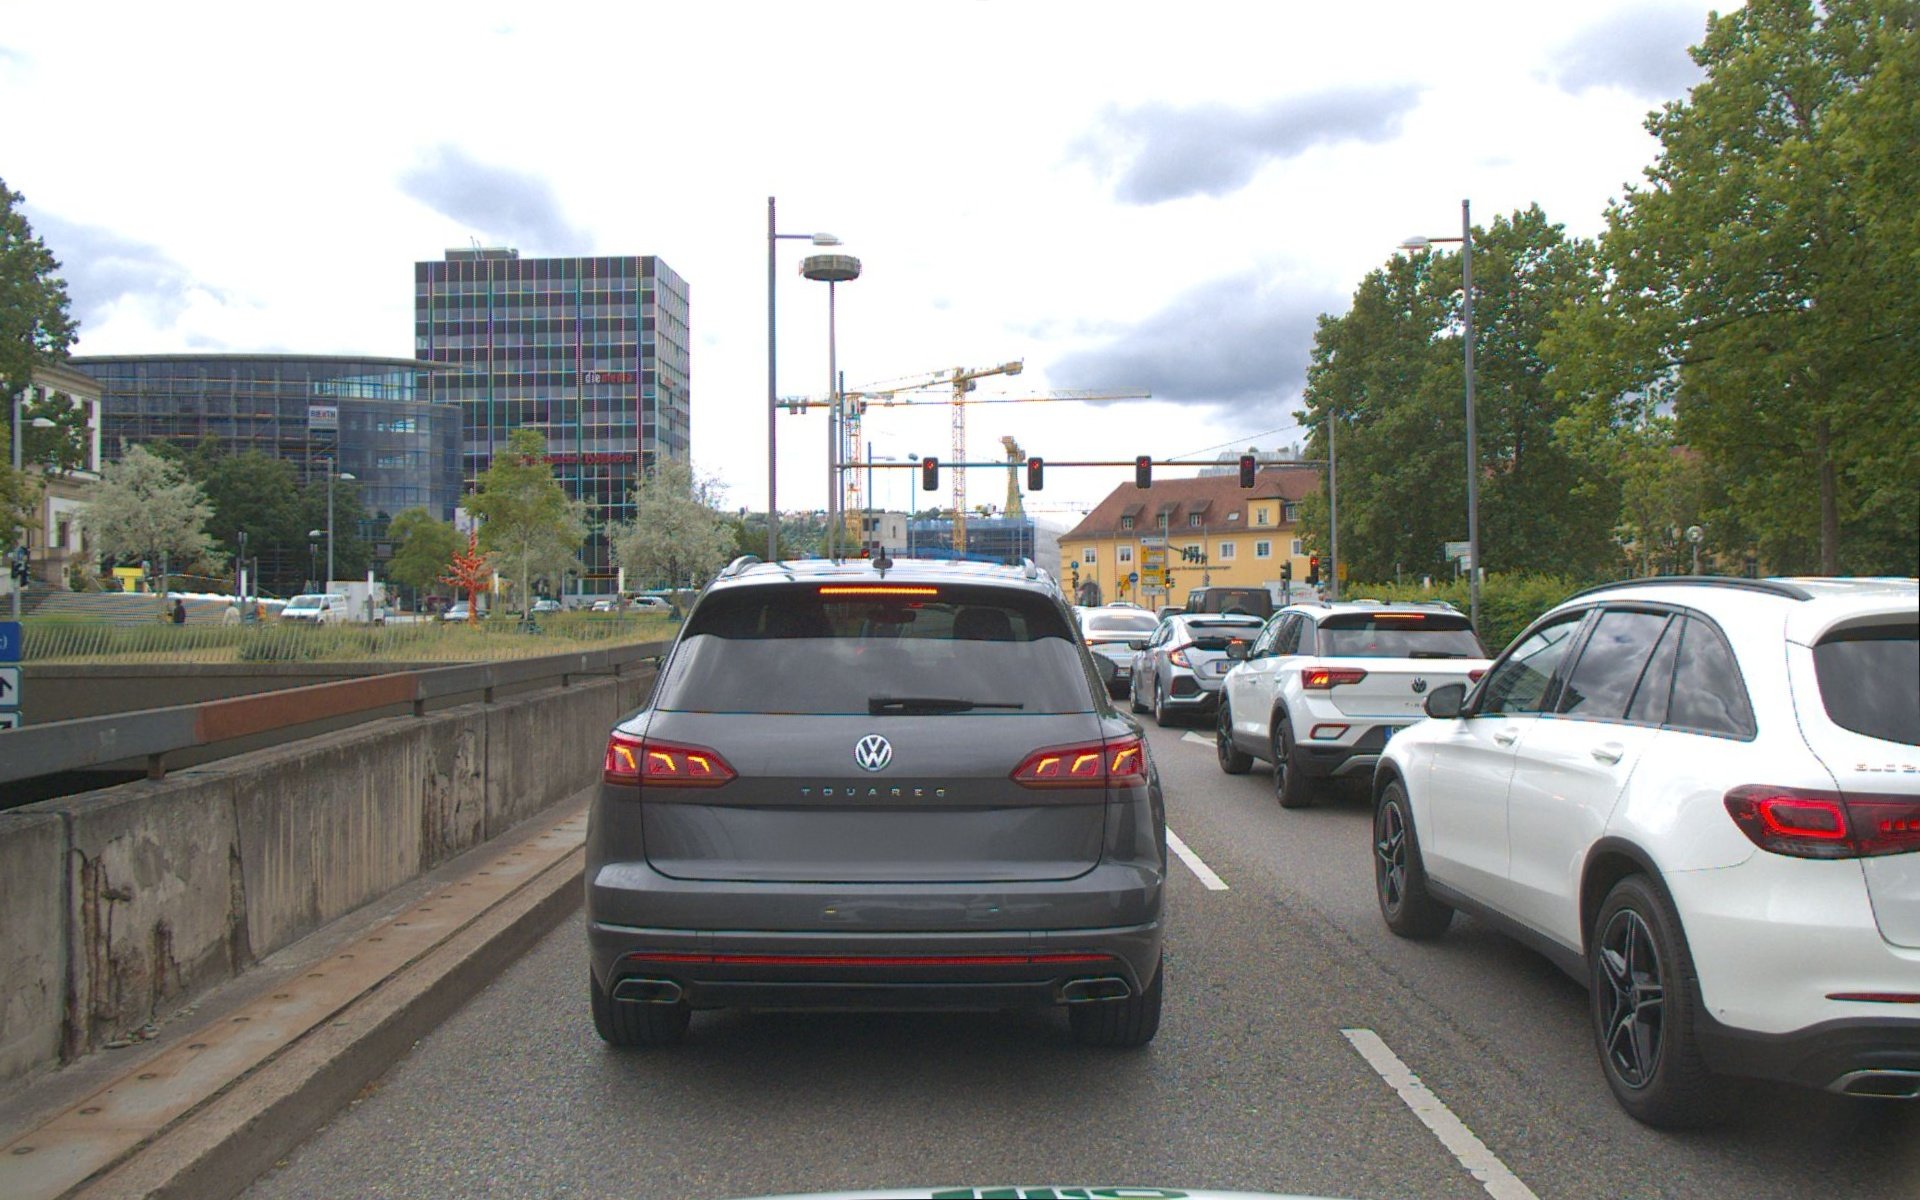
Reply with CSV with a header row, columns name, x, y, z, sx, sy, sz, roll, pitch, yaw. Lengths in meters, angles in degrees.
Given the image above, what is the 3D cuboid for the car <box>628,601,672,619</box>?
name,x,y,z,sx,sy,sz,roll,pitch,yaw
car,-29.655,0.935,158.406,4.142,1.631,1.746,1,-2,36

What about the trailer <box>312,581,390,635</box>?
name,x,y,z,sx,sy,sz,roll,pitch,yaw
trailer,-31.710,0.381,86.317,1.996,2.650,5.507,2,1,-1

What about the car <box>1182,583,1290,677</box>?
name,x,y,z,sx,sy,sz,roll,pitch,yaw
car,6.498,0.703,39.327,1.871,2.049,4.011,2,-1,0

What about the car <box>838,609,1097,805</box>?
name,x,y,z,sx,sy,sz,roll,pitch,yaw
car,0.022,0.817,14.401,1.912,1.408,3.930,2,0,-1

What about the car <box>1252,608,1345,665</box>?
name,x,y,z,sx,sy,sz,roll,pitch,yaw
car,9.351,0.999,45.923,1.722,1.472,3.632,2,-1,-2

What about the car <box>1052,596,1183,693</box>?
name,x,y,z,sx,sy,sz,roll,pitch,yaw
car,2.672,0.750,28.967,1.887,1.556,4.489,1,-1,0

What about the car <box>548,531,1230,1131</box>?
name,x,y,z,sx,sy,sz,roll,pitch,yaw
car,-0.229,0.656,6.663,1.912,1.680,3.999,0,0,-1

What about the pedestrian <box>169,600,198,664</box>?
name,x,y,z,sx,sy,sz,roll,pitch,yaw
pedestrian,-25.364,1.045,54.029,0.781,2.049,0.829,-1,0,-28

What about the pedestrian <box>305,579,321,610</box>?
name,x,y,z,sx,sy,sz,roll,pitch,yaw
pedestrian,-44.128,-0.379,112.876,0.724,2.049,1.113,-1,1,-6

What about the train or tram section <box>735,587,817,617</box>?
name,x,y,z,sx,sy,sz,roll,pitch,yaw
train or tram section,-19.817,0.236,177.861,8.750,3.062,2.593,1,-2,28

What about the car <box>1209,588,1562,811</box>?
name,x,y,z,sx,sy,sz,roll,pitch,yaw
car,3.389,0.740,14.101,1.887,1.578,4.489,1,-1,0

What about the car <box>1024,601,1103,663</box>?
name,x,y,z,sx,sy,sz,roll,pitch,yaw
car,2.709,0.836,44.075,1.887,1.556,4.047,1,-1,0

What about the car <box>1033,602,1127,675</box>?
name,x,y,z,sx,sy,sz,roll,pitch,yaw
car,2.687,0.866,37.787,1.887,1.556,4.047,1,-1,0

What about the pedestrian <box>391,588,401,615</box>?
name,x,y,z,sx,sy,sz,roll,pitch,yaw
pedestrian,-43.111,0.103,126.432,0.727,2.049,0.915,-1,1,-20

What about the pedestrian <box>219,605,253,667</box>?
name,x,y,z,sx,sy,sz,roll,pitch,yaw
pedestrian,-24.057,1.189,54.941,0.843,2.049,0.629,0,1,25

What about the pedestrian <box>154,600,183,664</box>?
name,x,y,z,sx,sy,sz,roll,pitch,yaw
pedestrian,-25.611,1.026,53.531,0.782,2.049,0.829,-1,0,-29

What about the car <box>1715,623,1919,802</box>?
name,x,y,z,sx,sy,sz,roll,pitch,yaw
car,9.080,1.004,15.913,1.890,1.485,4.529,1,-1,5

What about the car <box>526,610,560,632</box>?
name,x,y,z,sx,sy,sz,roll,pitch,yaw
car,-30.535,1.522,121.228,1.697,1.521,3.592,2,-1,-3

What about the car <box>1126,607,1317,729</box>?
name,x,y,z,sx,sy,sz,roll,pitch,yaw
car,3.388,0.848,22.252,1.887,1.457,4.489,1,-1,0

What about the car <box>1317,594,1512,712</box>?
name,x,y,z,sx,sy,sz,roll,pitch,yaw
car,6.912,0.749,25.630,1.952,1.668,4.305,0,0,2

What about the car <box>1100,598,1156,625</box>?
name,x,y,z,sx,sy,sz,roll,pitch,yaw
car,13.198,0.894,130.050,3.913,2.049,1.932,1,-2,30

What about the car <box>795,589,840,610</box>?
name,x,y,z,sx,sy,sz,roll,pitch,yaw
car,-14.885,-0.019,172.460,4.367,2.049,1.994,1,-2,33

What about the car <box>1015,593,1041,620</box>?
name,x,y,z,sx,sy,sz,roll,pitch,yaw
car,4.554,0.439,111.548,1.586,1.656,3.999,2,-1,0

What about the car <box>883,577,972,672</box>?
name,x,y,z,sx,sy,sz,roll,pitch,yaw
car,-0.752,0.547,38.555,1.912,2.053,3.930,2,0,-1

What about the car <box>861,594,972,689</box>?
name,x,y,z,sx,sy,sz,roll,pitch,yaw
car,-0.797,0.737,31.018,1.912,1.628,3.930,2,0,-1

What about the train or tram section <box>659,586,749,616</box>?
name,x,y,z,sx,sy,sz,roll,pitch,yaw
train or tram section,-28.216,0.132,182.291,10.195,3.062,2.593,1,-2,28

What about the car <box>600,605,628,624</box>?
name,x,y,z,sx,sy,sz,roll,pitch,yaw
car,-29.475,1.226,140.982,1.697,1.521,3.592,2,-1,-3

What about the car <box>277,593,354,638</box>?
name,x,y,z,sx,sy,sz,roll,pitch,yaw
car,-31.583,0.728,81.224,1.953,2.048,4.692,0,1,0

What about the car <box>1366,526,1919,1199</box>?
name,x,y,z,sx,sy,sz,roll,pitch,yaw
car,3.010,0.648,6.250,1.887,1.682,4.490,0,0,0

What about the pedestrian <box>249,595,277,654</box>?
name,x,y,z,sx,sy,sz,roll,pitch,yaw
pedestrian,-24.802,0.861,58.868,0.716,2.047,0.628,-1,4,-8
